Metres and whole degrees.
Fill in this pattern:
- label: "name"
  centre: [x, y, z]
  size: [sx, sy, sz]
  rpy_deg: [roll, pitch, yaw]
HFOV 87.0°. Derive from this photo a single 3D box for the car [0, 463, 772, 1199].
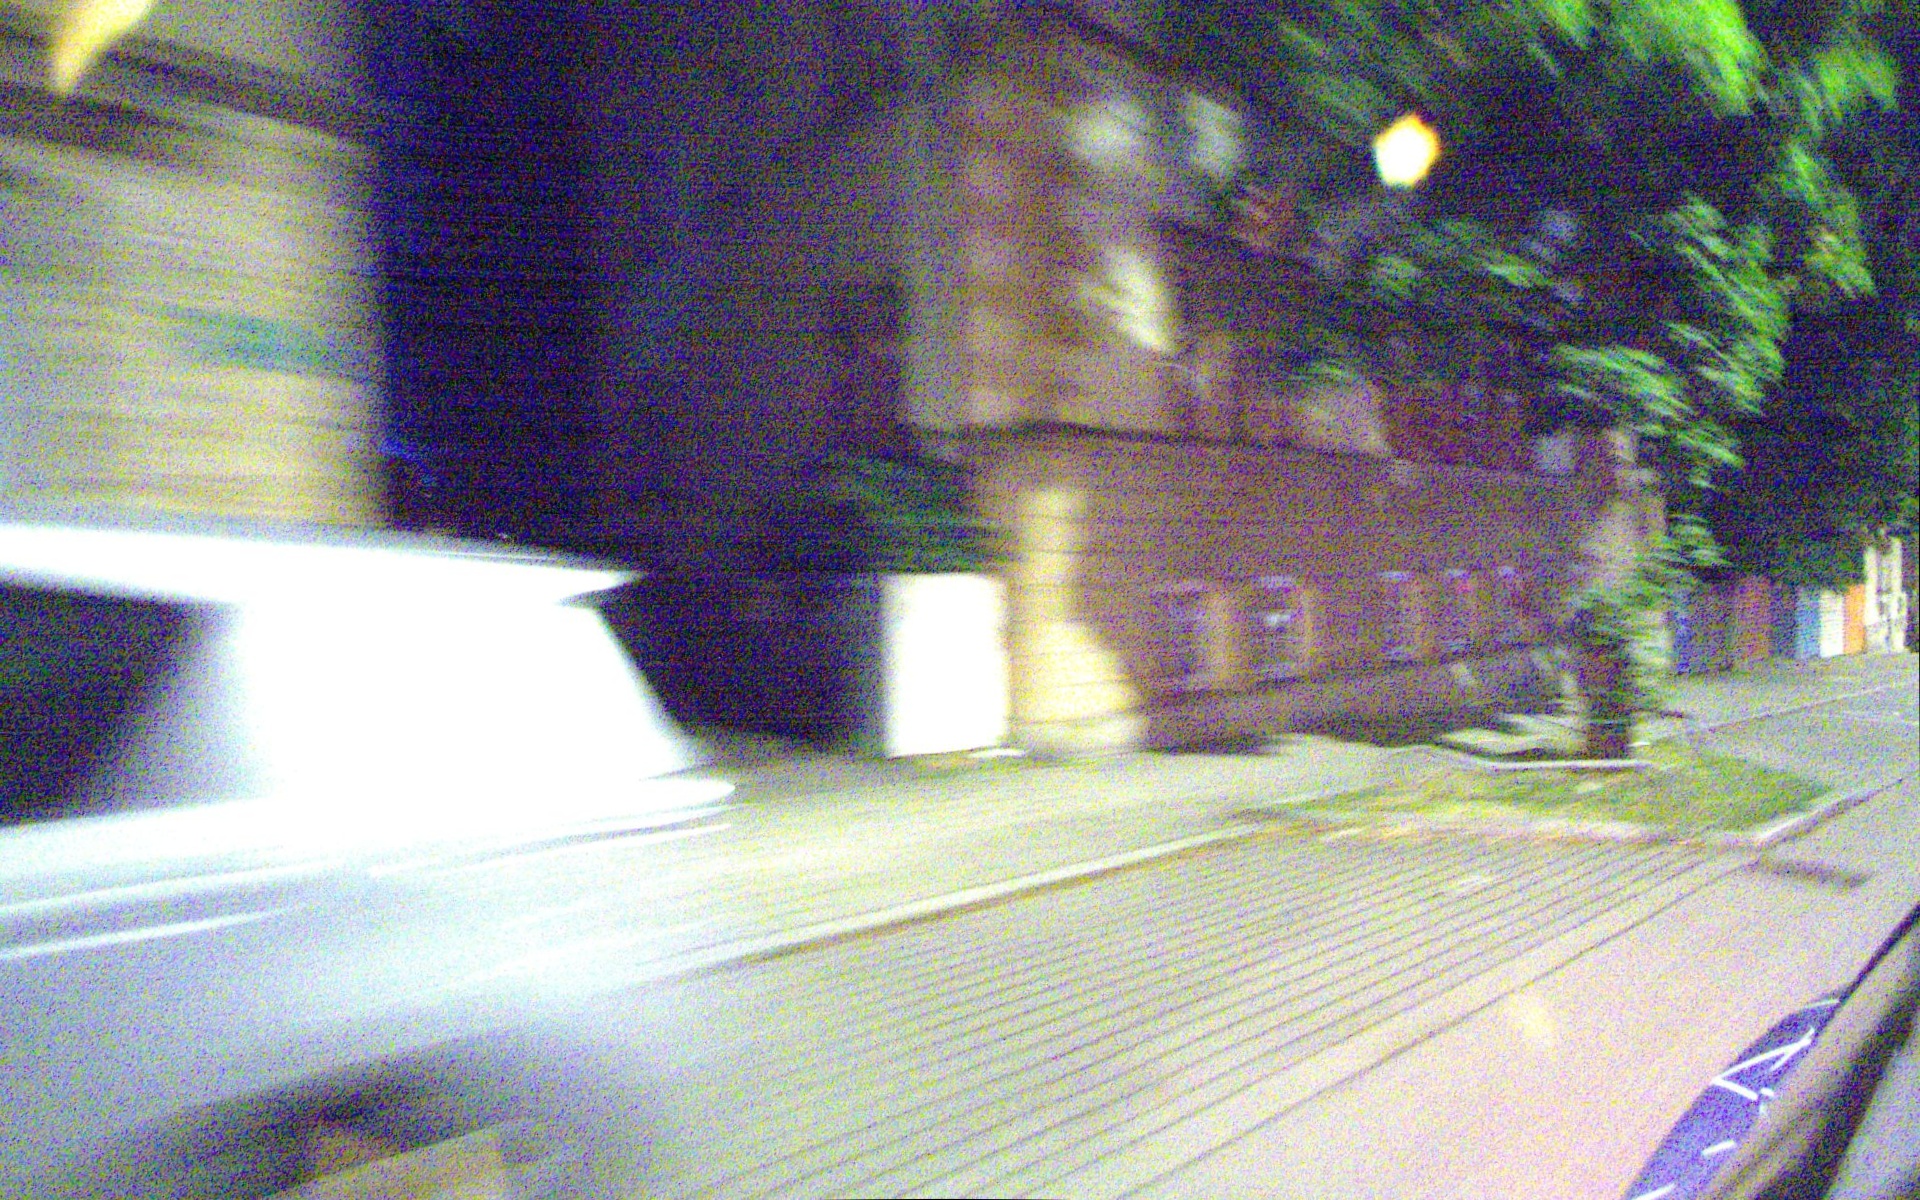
- label: "car"
  centre: [-2.606, 0.588, 1.403]
  size: [4.279, 1.617, 1.743]
  rpy_deg: [0, 2, -38]
